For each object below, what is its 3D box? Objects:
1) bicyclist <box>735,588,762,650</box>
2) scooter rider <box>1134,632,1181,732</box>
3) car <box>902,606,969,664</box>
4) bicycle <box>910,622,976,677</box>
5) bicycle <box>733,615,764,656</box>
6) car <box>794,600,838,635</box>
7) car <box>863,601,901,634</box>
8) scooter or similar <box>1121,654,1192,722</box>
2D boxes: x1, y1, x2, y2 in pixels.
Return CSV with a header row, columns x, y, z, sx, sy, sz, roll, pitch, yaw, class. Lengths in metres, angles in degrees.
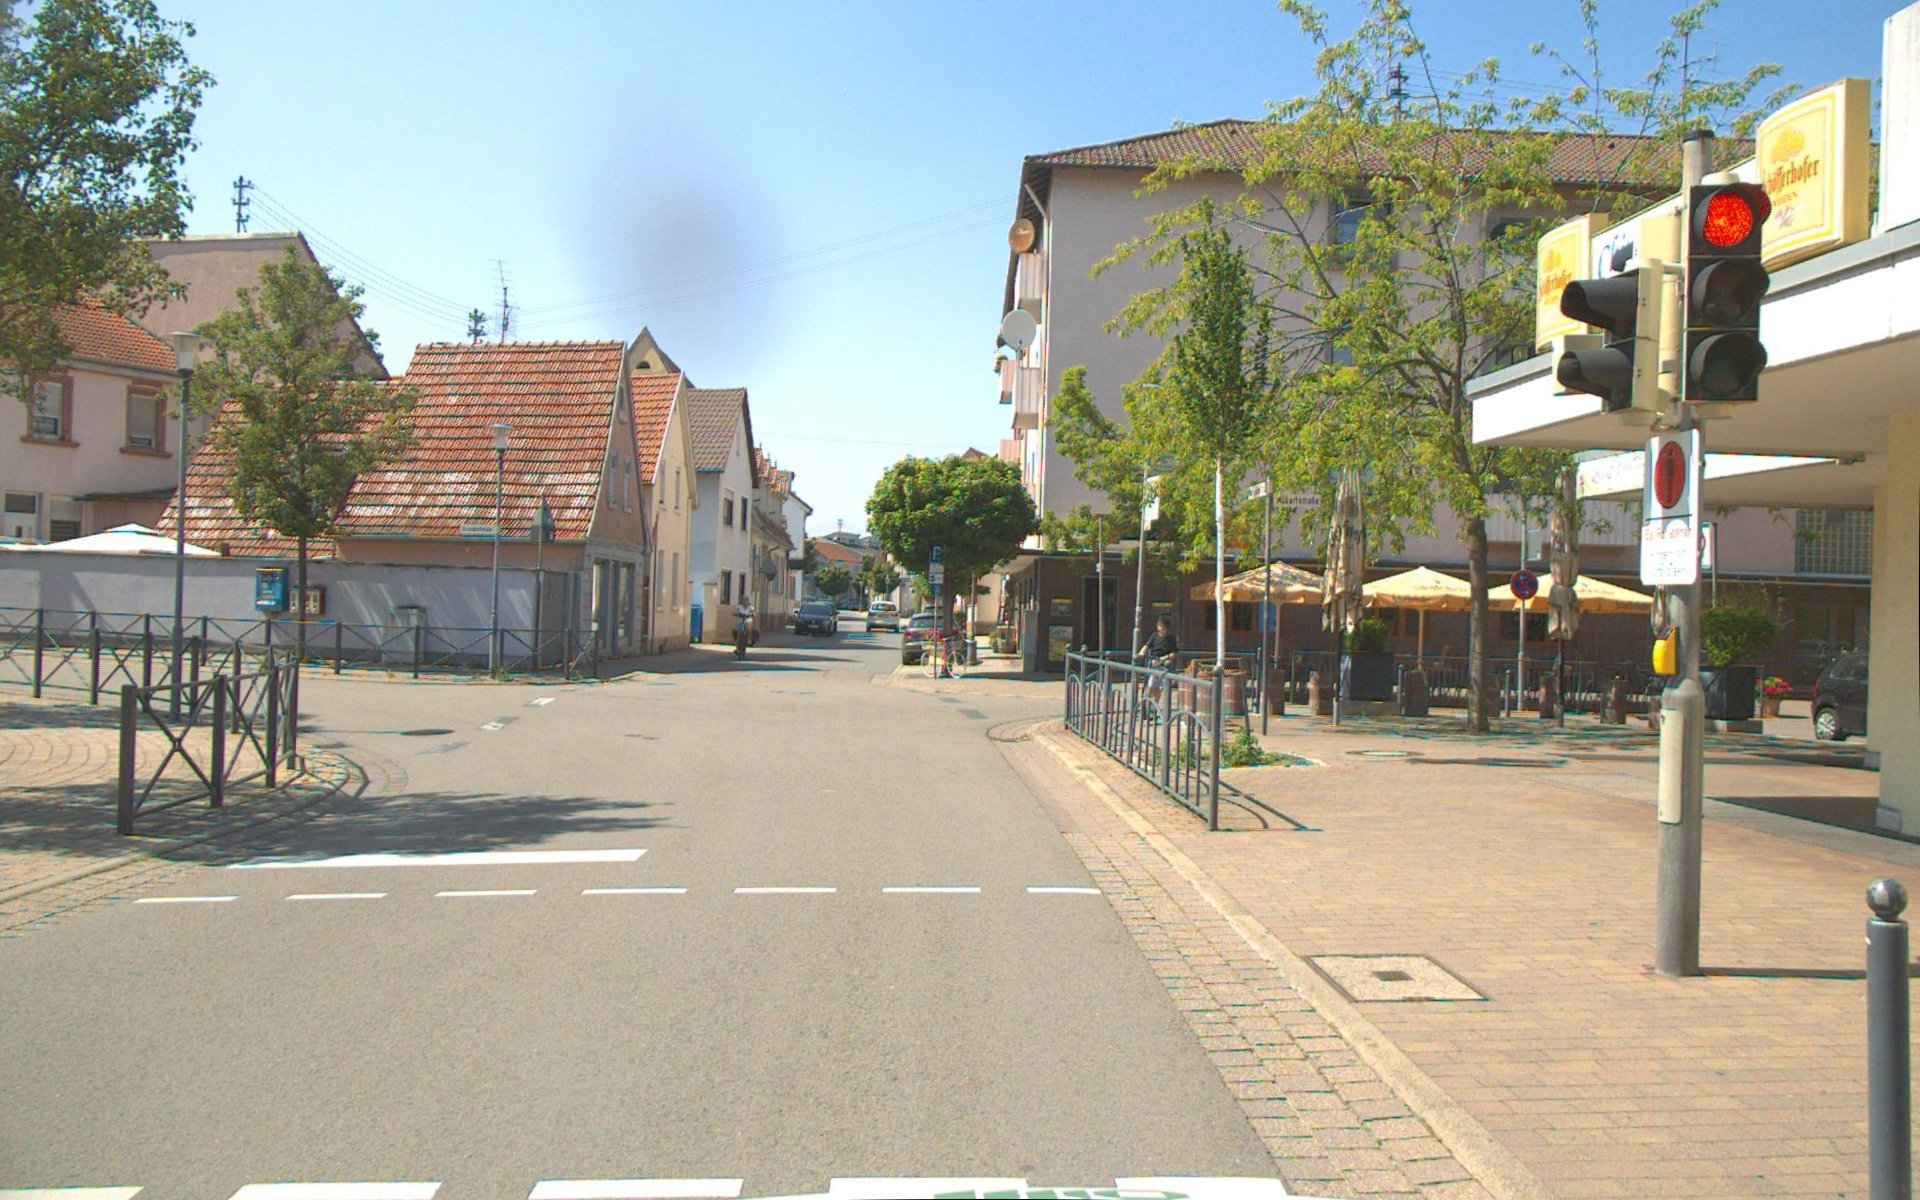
x,y,z,sx,sy,sz,roll,pitch,yaw,class
-6.006,0.538,46.970,0.655,1.720,0.761,1,-1,-1,bicyclist
2.665,1.101,22.326,0.410,1.308,0.514,2,-1,-21,scooter rider
-0.663,0.959,47.373,1.768,1.528,4.000,2,0,0,car
-0.410,1.150,38.603,0.523,1.214,1.648,2,-1,-44,bicycle
-6.000,0.993,46.907,0.660,1.113,1.895,0,0,-1,bicycle
-6.783,0.828,78.089,1.679,1.543,3.786,2,0,0,car
-4.174,0.935,88.805,1.796,1.681,3.999,2,0,0,car
2.653,1.191,22.343,0.875,0.889,0.377,2,-1,-22,scooter or similar
